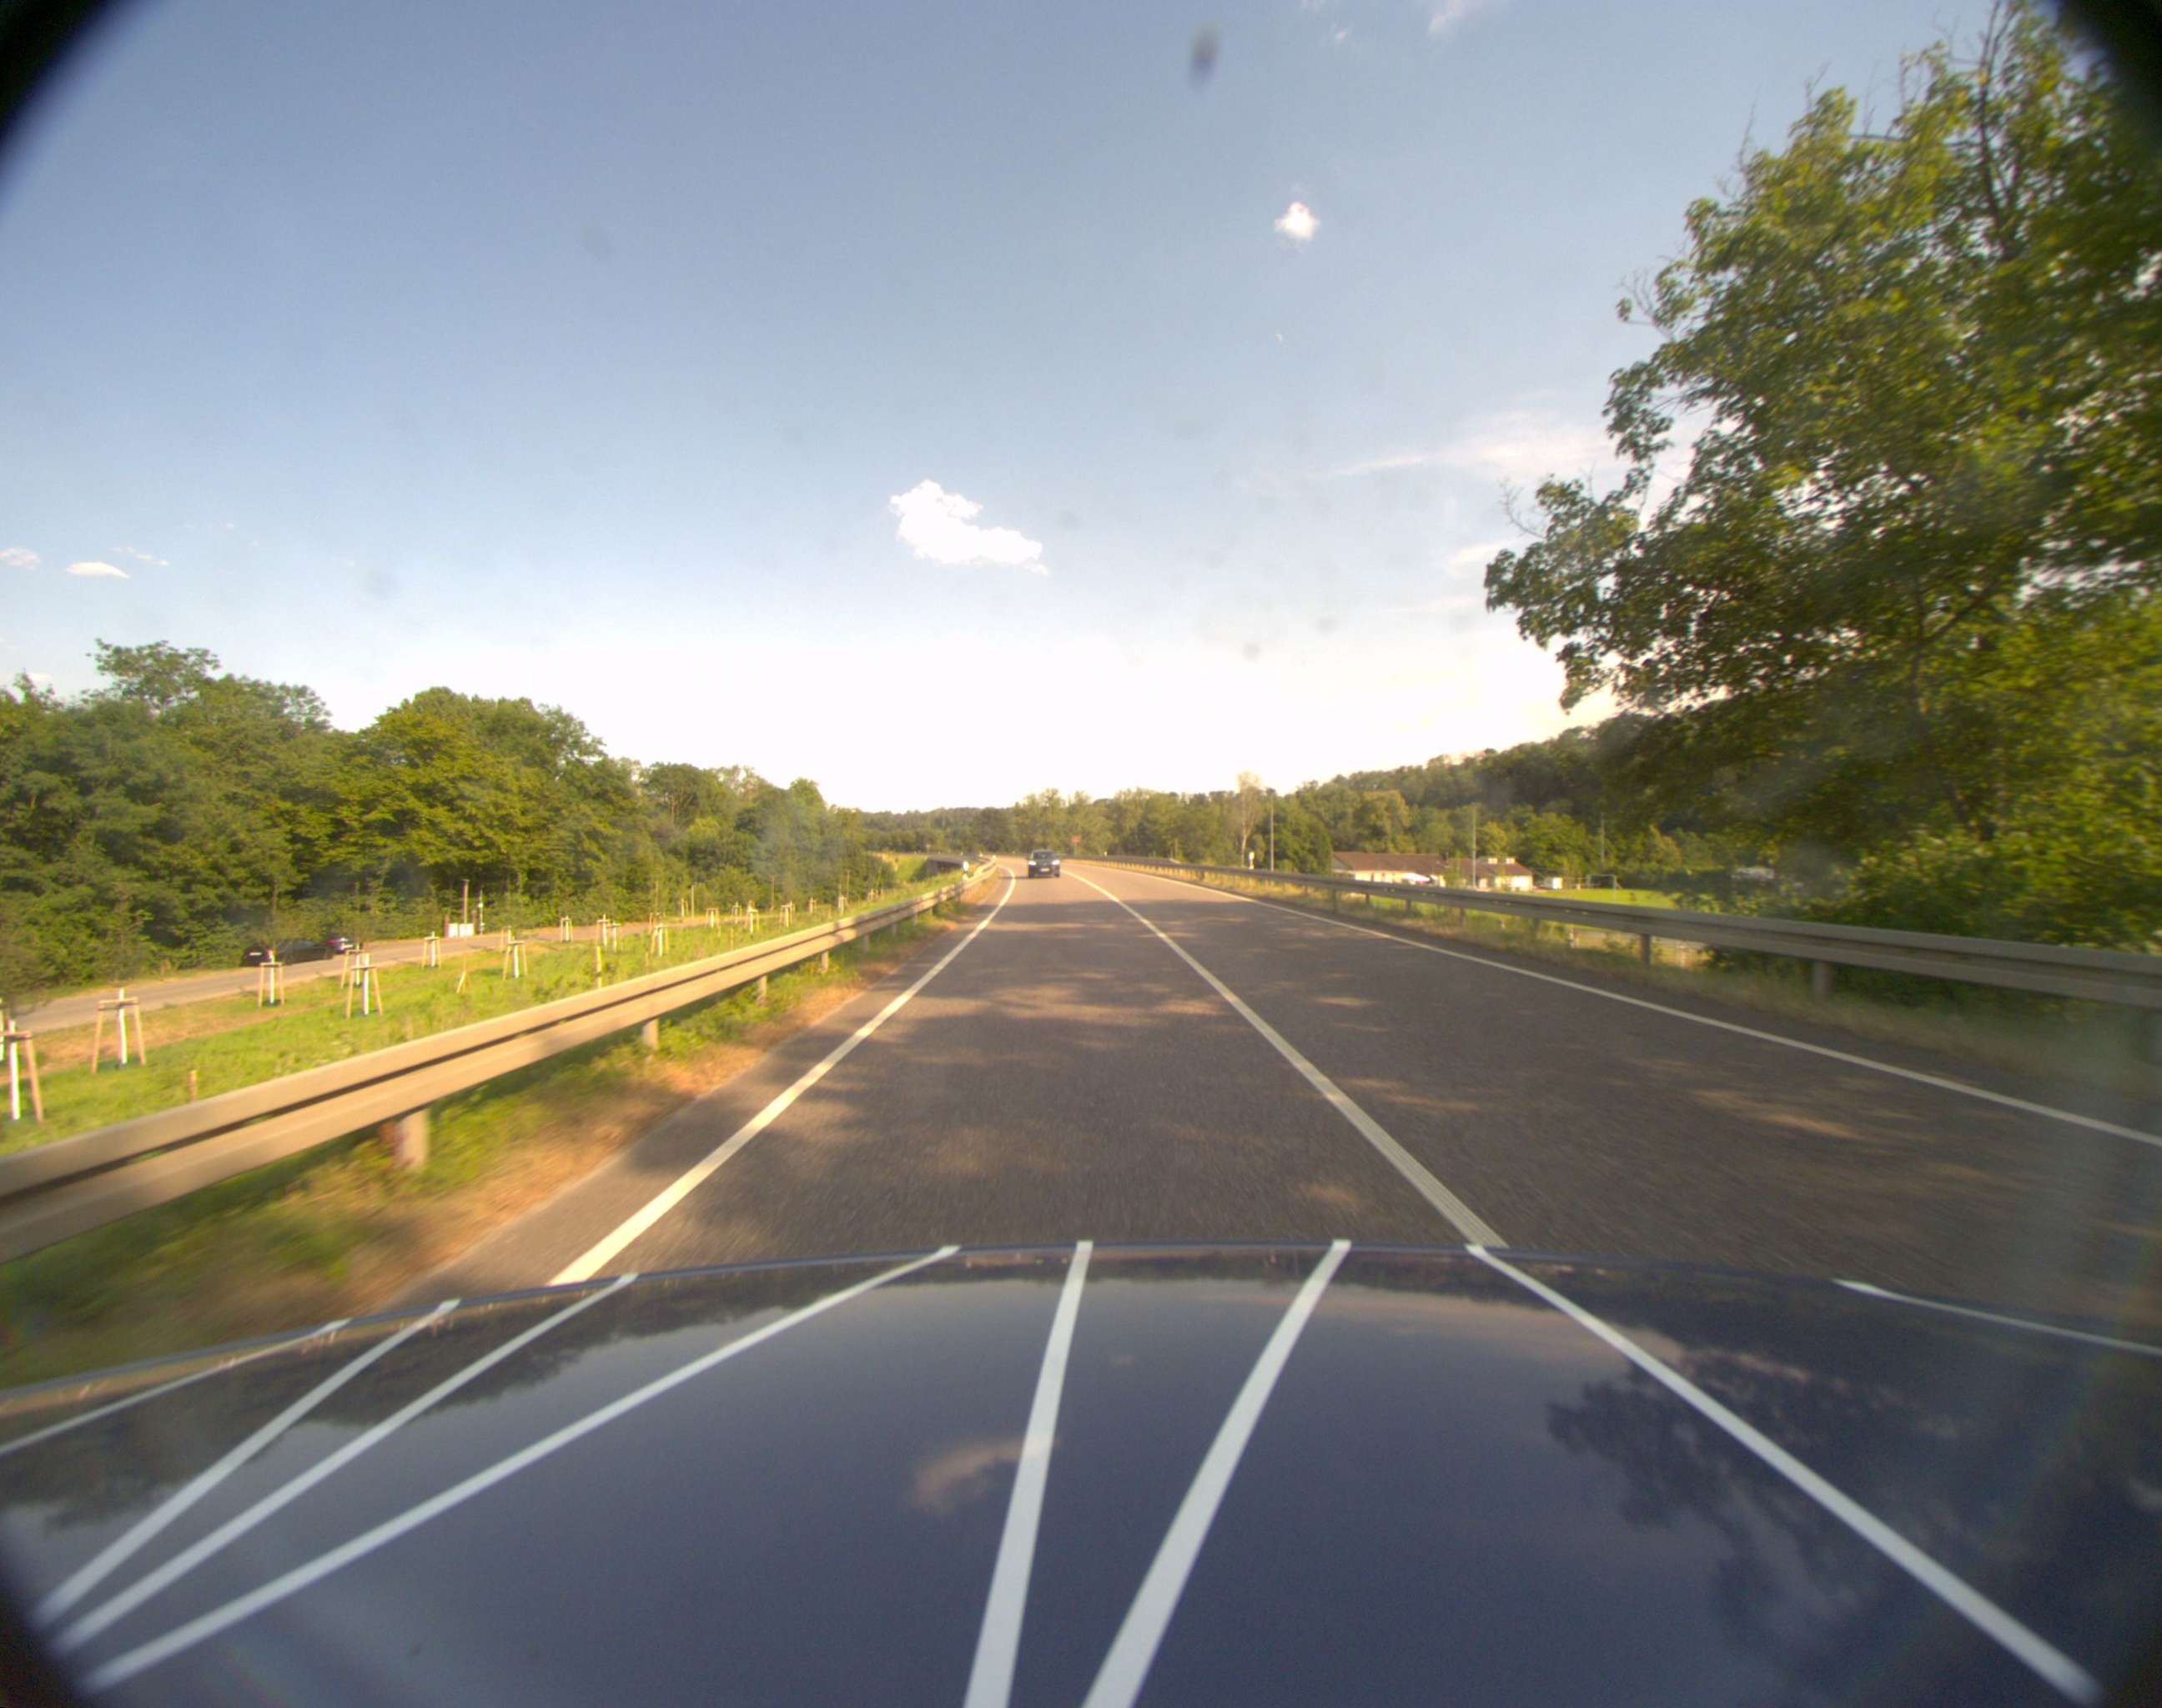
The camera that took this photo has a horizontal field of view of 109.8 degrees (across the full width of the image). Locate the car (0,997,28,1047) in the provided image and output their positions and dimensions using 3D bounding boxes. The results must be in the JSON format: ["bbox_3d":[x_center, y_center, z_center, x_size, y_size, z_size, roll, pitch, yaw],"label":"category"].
[{"bbox_3d":[-35.428,5.482,22.994,1.660,1.487,4.219,-2,0,-10],"label":"car"}]

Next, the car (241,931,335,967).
[{"bbox_3d":[-45.627,5.452,43.847,1.660,1.488,3.825,-1,1,-7],"label":"car"}]

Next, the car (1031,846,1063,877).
[{"bbox_3d":[-2.050,0.394,45.249,1.751,1.645,4.303,-2,2,-3],"label":"car"}]

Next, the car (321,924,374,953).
[{"bbox_3d":[-47.823,5.477,49.523,3.674,1.488,1.663,0,2,34],"label":"car"}]
